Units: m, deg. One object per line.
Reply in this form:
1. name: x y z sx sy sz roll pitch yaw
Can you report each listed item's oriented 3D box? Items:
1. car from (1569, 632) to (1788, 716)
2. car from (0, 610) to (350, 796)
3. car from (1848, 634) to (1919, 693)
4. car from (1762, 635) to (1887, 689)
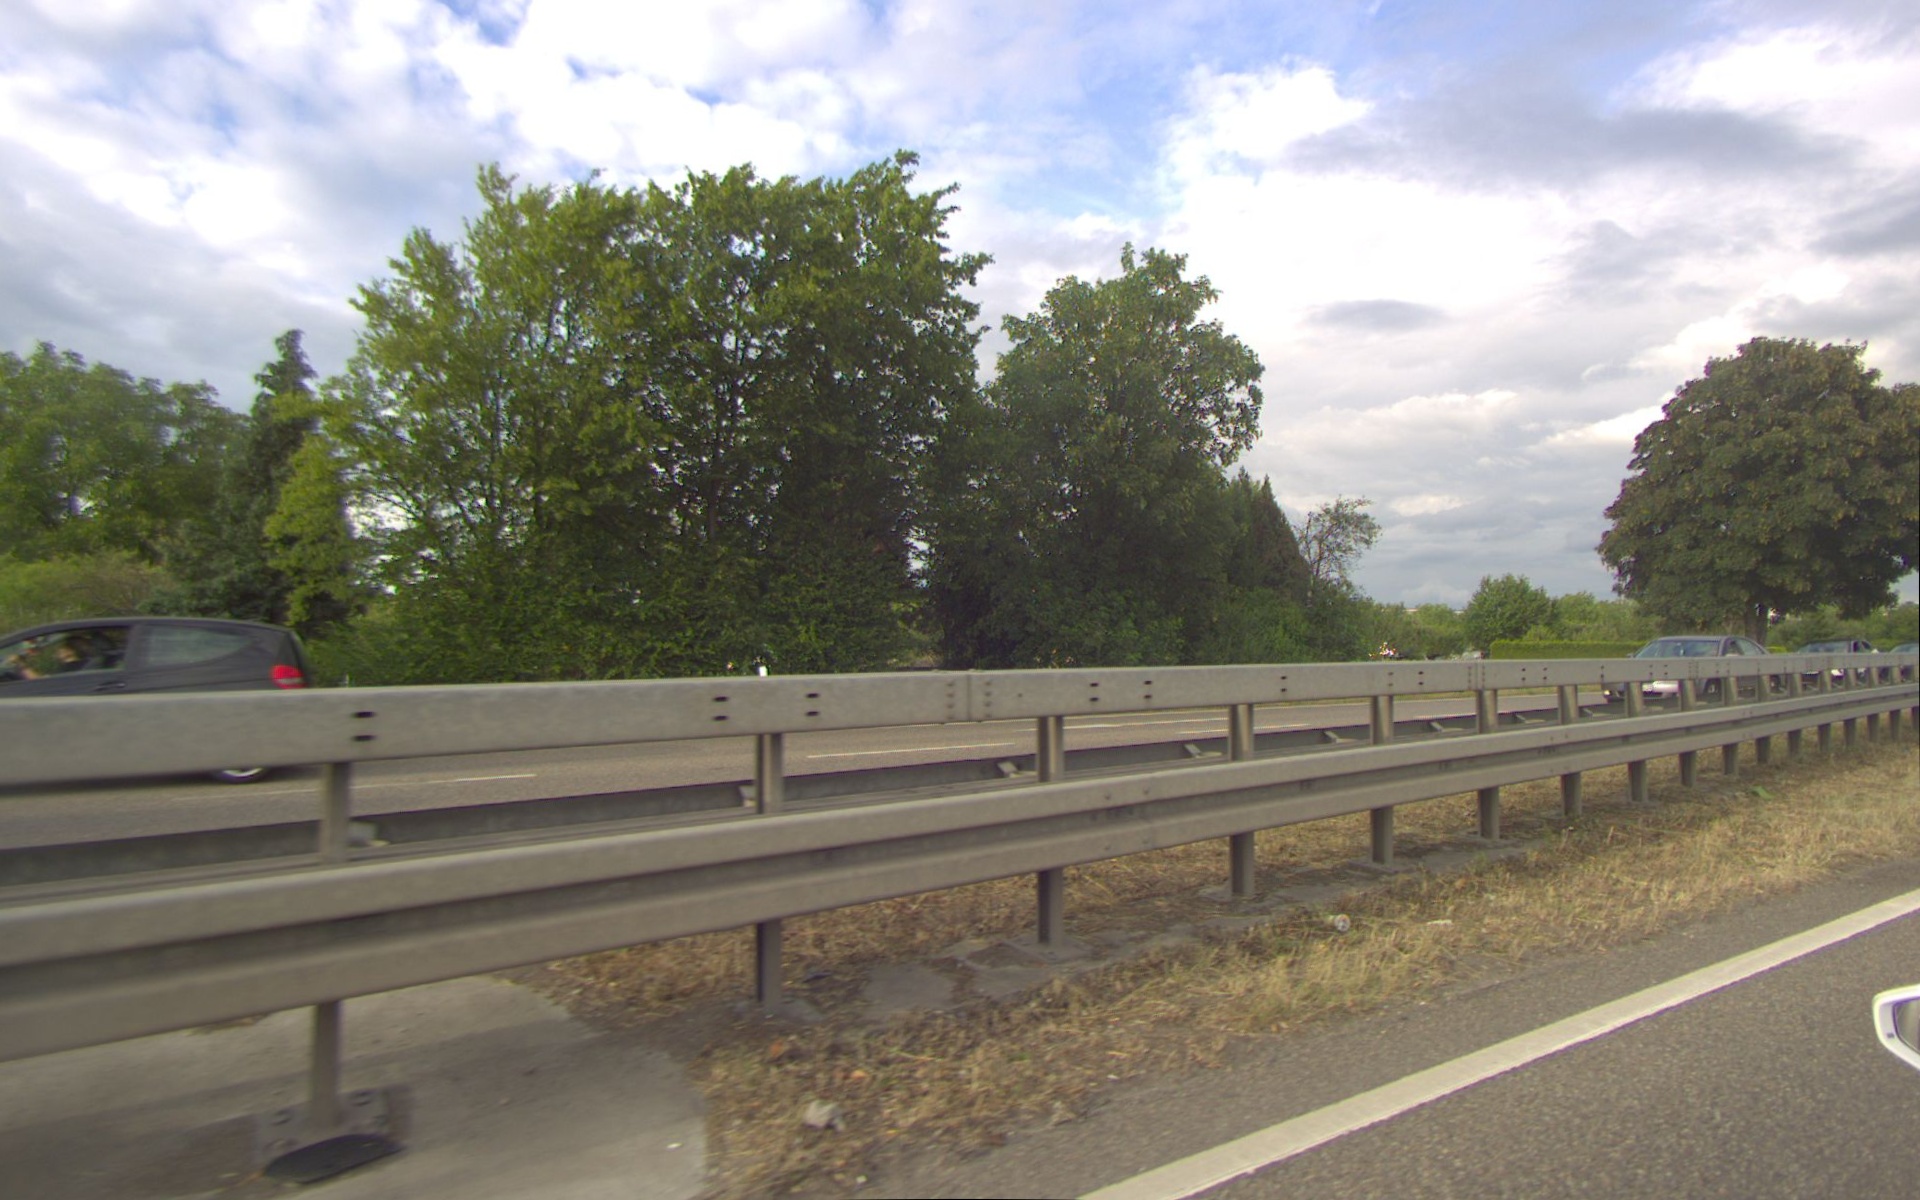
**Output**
1. car: 14.294 1.393 19.913 4.771 1.497 1.857 1 -2 -32
2. car: -8.270 0.916 9.619 4.114 1.594 1.780 1 -2 -32
3. car: 26.326 1.681 27.390 4.880 1.497 1.857 1 -2 -32
4. car: 27.547 1.930 31.988 4.105 1.584 1.857 1 -2 -32
